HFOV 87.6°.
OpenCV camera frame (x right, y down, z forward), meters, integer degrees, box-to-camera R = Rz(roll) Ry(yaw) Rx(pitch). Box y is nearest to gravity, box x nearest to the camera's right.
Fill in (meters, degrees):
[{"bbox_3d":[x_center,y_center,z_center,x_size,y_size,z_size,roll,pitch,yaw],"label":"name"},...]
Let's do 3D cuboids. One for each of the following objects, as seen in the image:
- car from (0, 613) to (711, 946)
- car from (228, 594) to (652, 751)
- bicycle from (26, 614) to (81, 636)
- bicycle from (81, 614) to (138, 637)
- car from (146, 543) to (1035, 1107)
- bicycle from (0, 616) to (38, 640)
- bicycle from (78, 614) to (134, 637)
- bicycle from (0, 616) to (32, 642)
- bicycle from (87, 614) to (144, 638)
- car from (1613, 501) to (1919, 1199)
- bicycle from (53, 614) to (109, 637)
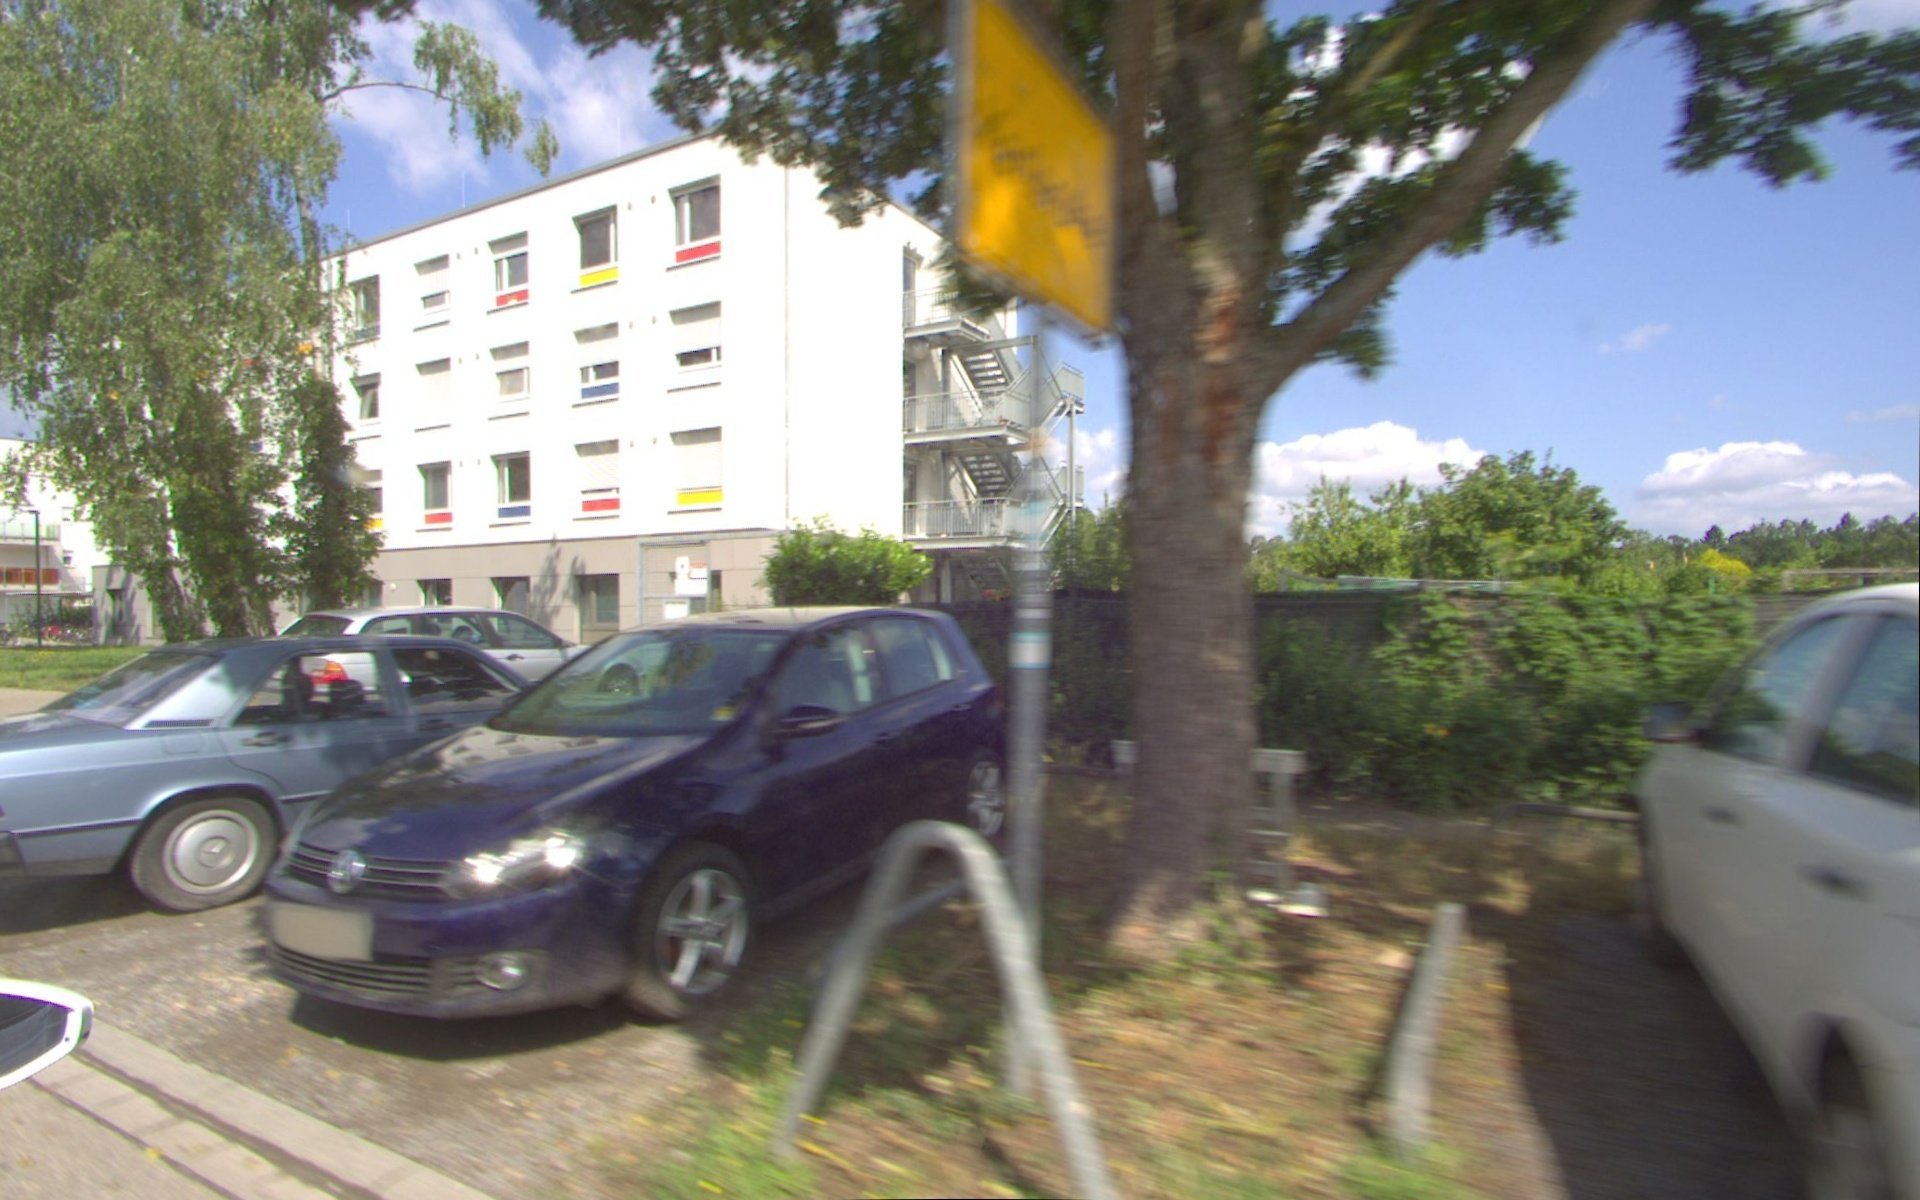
[{"bbox_3d":[-3.855,0.821,6.517,1.694,1.410,4.347,0,0,34],"label":"car"},{"bbox_3d":[-5.910,0.699,11.973,1.732,1.450,4.234,0,1,29],"label":"car"},{"bbox_3d":[-48.000,1.313,53.017,0.678,1.094,2.042,0,1,33],"label":"bicycle"},{"bbox_3d":[-42.762,1.279,50.379,0.678,1.094,2.042,0,1,33],"label":"bicycle"},{"bbox_3d":[-1.263,0.699,4.988,1.839,1.579,3.931,0,-2,28],"label":"car"},{"bbox_3d":[-45.544,1.363,47.886,0.678,1.094,2.042,0,1,33],"label":"bicycle"},{"bbox_3d":[-43.457,1.291,50.987,0.678,1.094,2.042,0,1,33],"label":"bicycle"},{"bbox_3d":[-44.443,1.357,46.341,0.616,1.134,2.083,0,1,34],"label":"bicycle"},{"bbox_3d":[-42.183,1.290,50.049,0.678,1.094,2.042,0,1,33],"label":"bicycle"},{"bbox_3d":[2.936,0.680,2.624,1.640,1.569,3.574,0,-2,27],"label":"car"},{"bbox_3d":[-45.533,1.303,51.891,0.678,1.094,2.042,0,1,33],"label":"bicycle"}]
